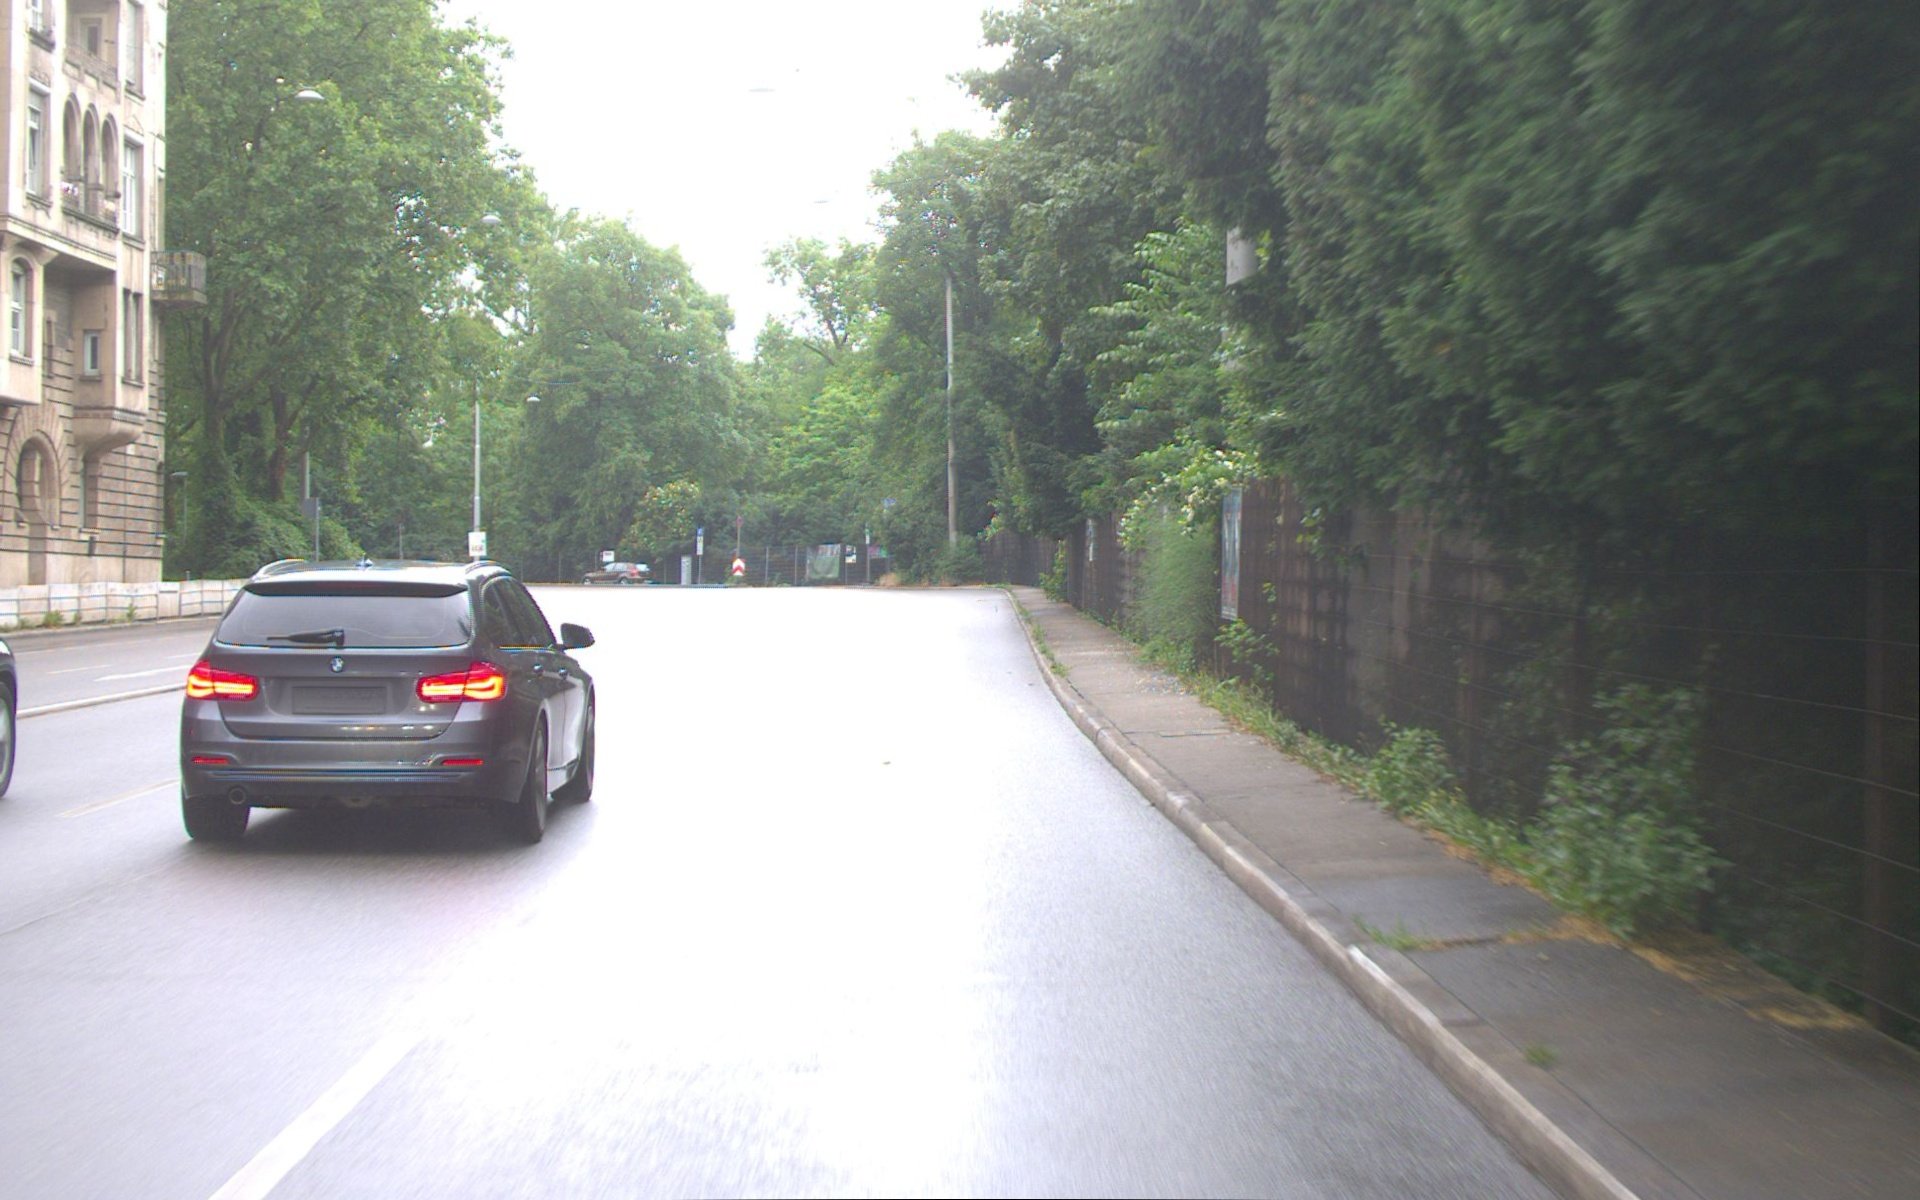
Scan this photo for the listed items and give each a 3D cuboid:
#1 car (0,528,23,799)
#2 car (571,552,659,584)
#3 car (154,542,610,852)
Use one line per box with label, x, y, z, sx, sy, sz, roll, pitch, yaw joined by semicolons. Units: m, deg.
car;-6.445;0.380;18.291;1.757;1.580;4.413;1;1;-1
car;-16.690;-1.553;166.210;4.368;1.422;1.688;1;-2;43
car;-3.000;0.439;18.708;1.757;1.427;4.413;2;1;-1
